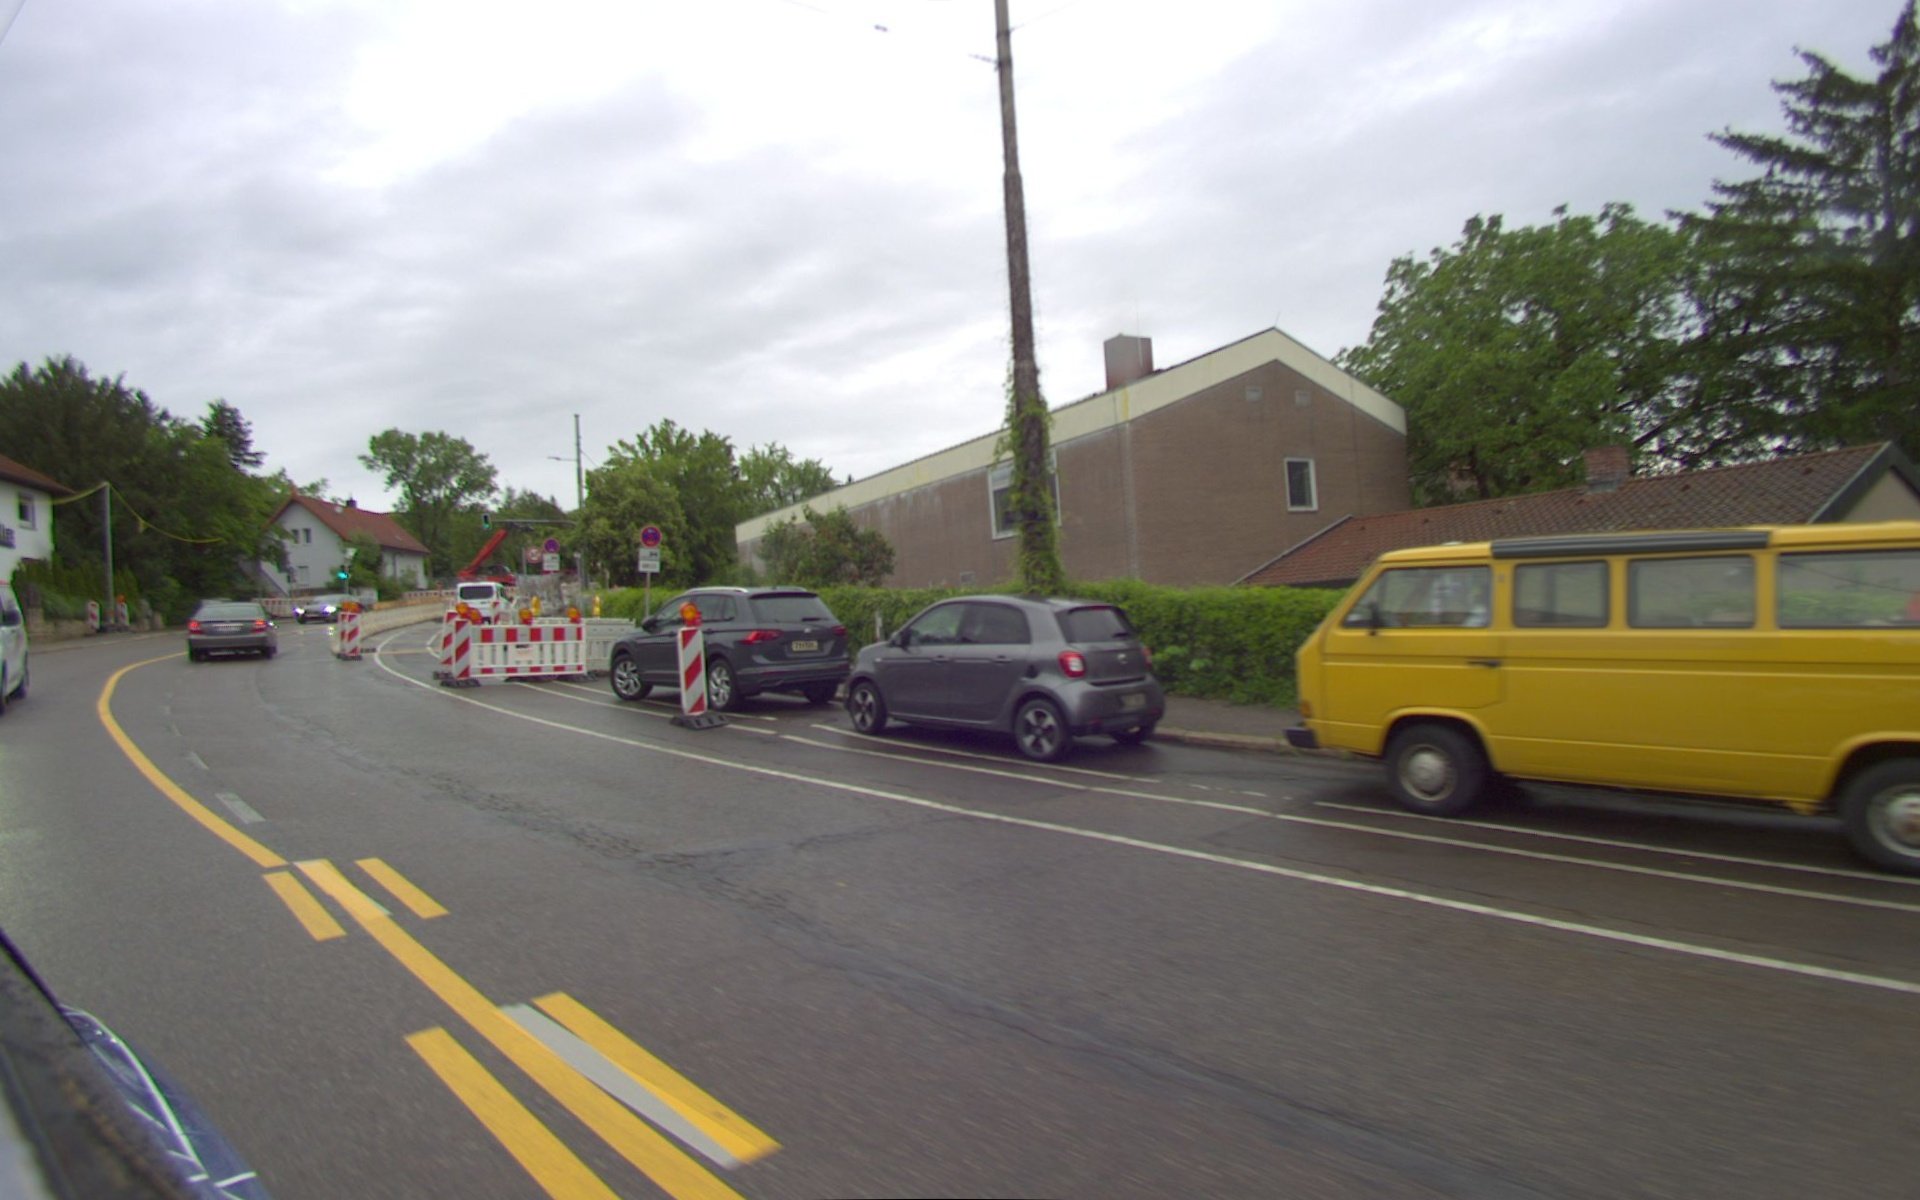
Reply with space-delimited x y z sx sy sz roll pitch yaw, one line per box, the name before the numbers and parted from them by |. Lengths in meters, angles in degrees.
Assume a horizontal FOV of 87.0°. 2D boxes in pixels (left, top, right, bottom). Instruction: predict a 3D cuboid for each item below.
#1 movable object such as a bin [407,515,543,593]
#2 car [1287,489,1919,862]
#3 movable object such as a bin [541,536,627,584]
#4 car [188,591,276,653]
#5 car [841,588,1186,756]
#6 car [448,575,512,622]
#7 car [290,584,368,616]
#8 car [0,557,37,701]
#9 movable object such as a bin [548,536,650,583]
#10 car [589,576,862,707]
movable object such as a bin | -42.676 -4.020 89.547 8.920 6.601 7.045 0 2 -4
car | 4.736 0.397 6.726 4.576 1.942 1.784 0 0 42
movable object such as a bin | -40.825 -4.320 110.000 8.226 5.091 3.319 0 1 6
car | -19.568 0.538 27.353 1.766 1.501 4.683 -2 1 -34
car | 0.450 0.611 10.633 3.466 1.465 1.557 1 1 44
car | -19.590 -0.087 41.468 1.780 1.814 4.477 -1 1 -18
car | -32.662 -0.037 52.548 1.957 1.447 4.527 -1 2 -12
car | -15.096 0.387 14.743 2.010 1.953 4.525 -2 2 -38
movable object such as a bin | -43.108 -4.773 121.821 5.204 5.236 13.480 0 2 13
car | -3.533 0.497 14.707 4.464 1.620 1.701 0 1 44
